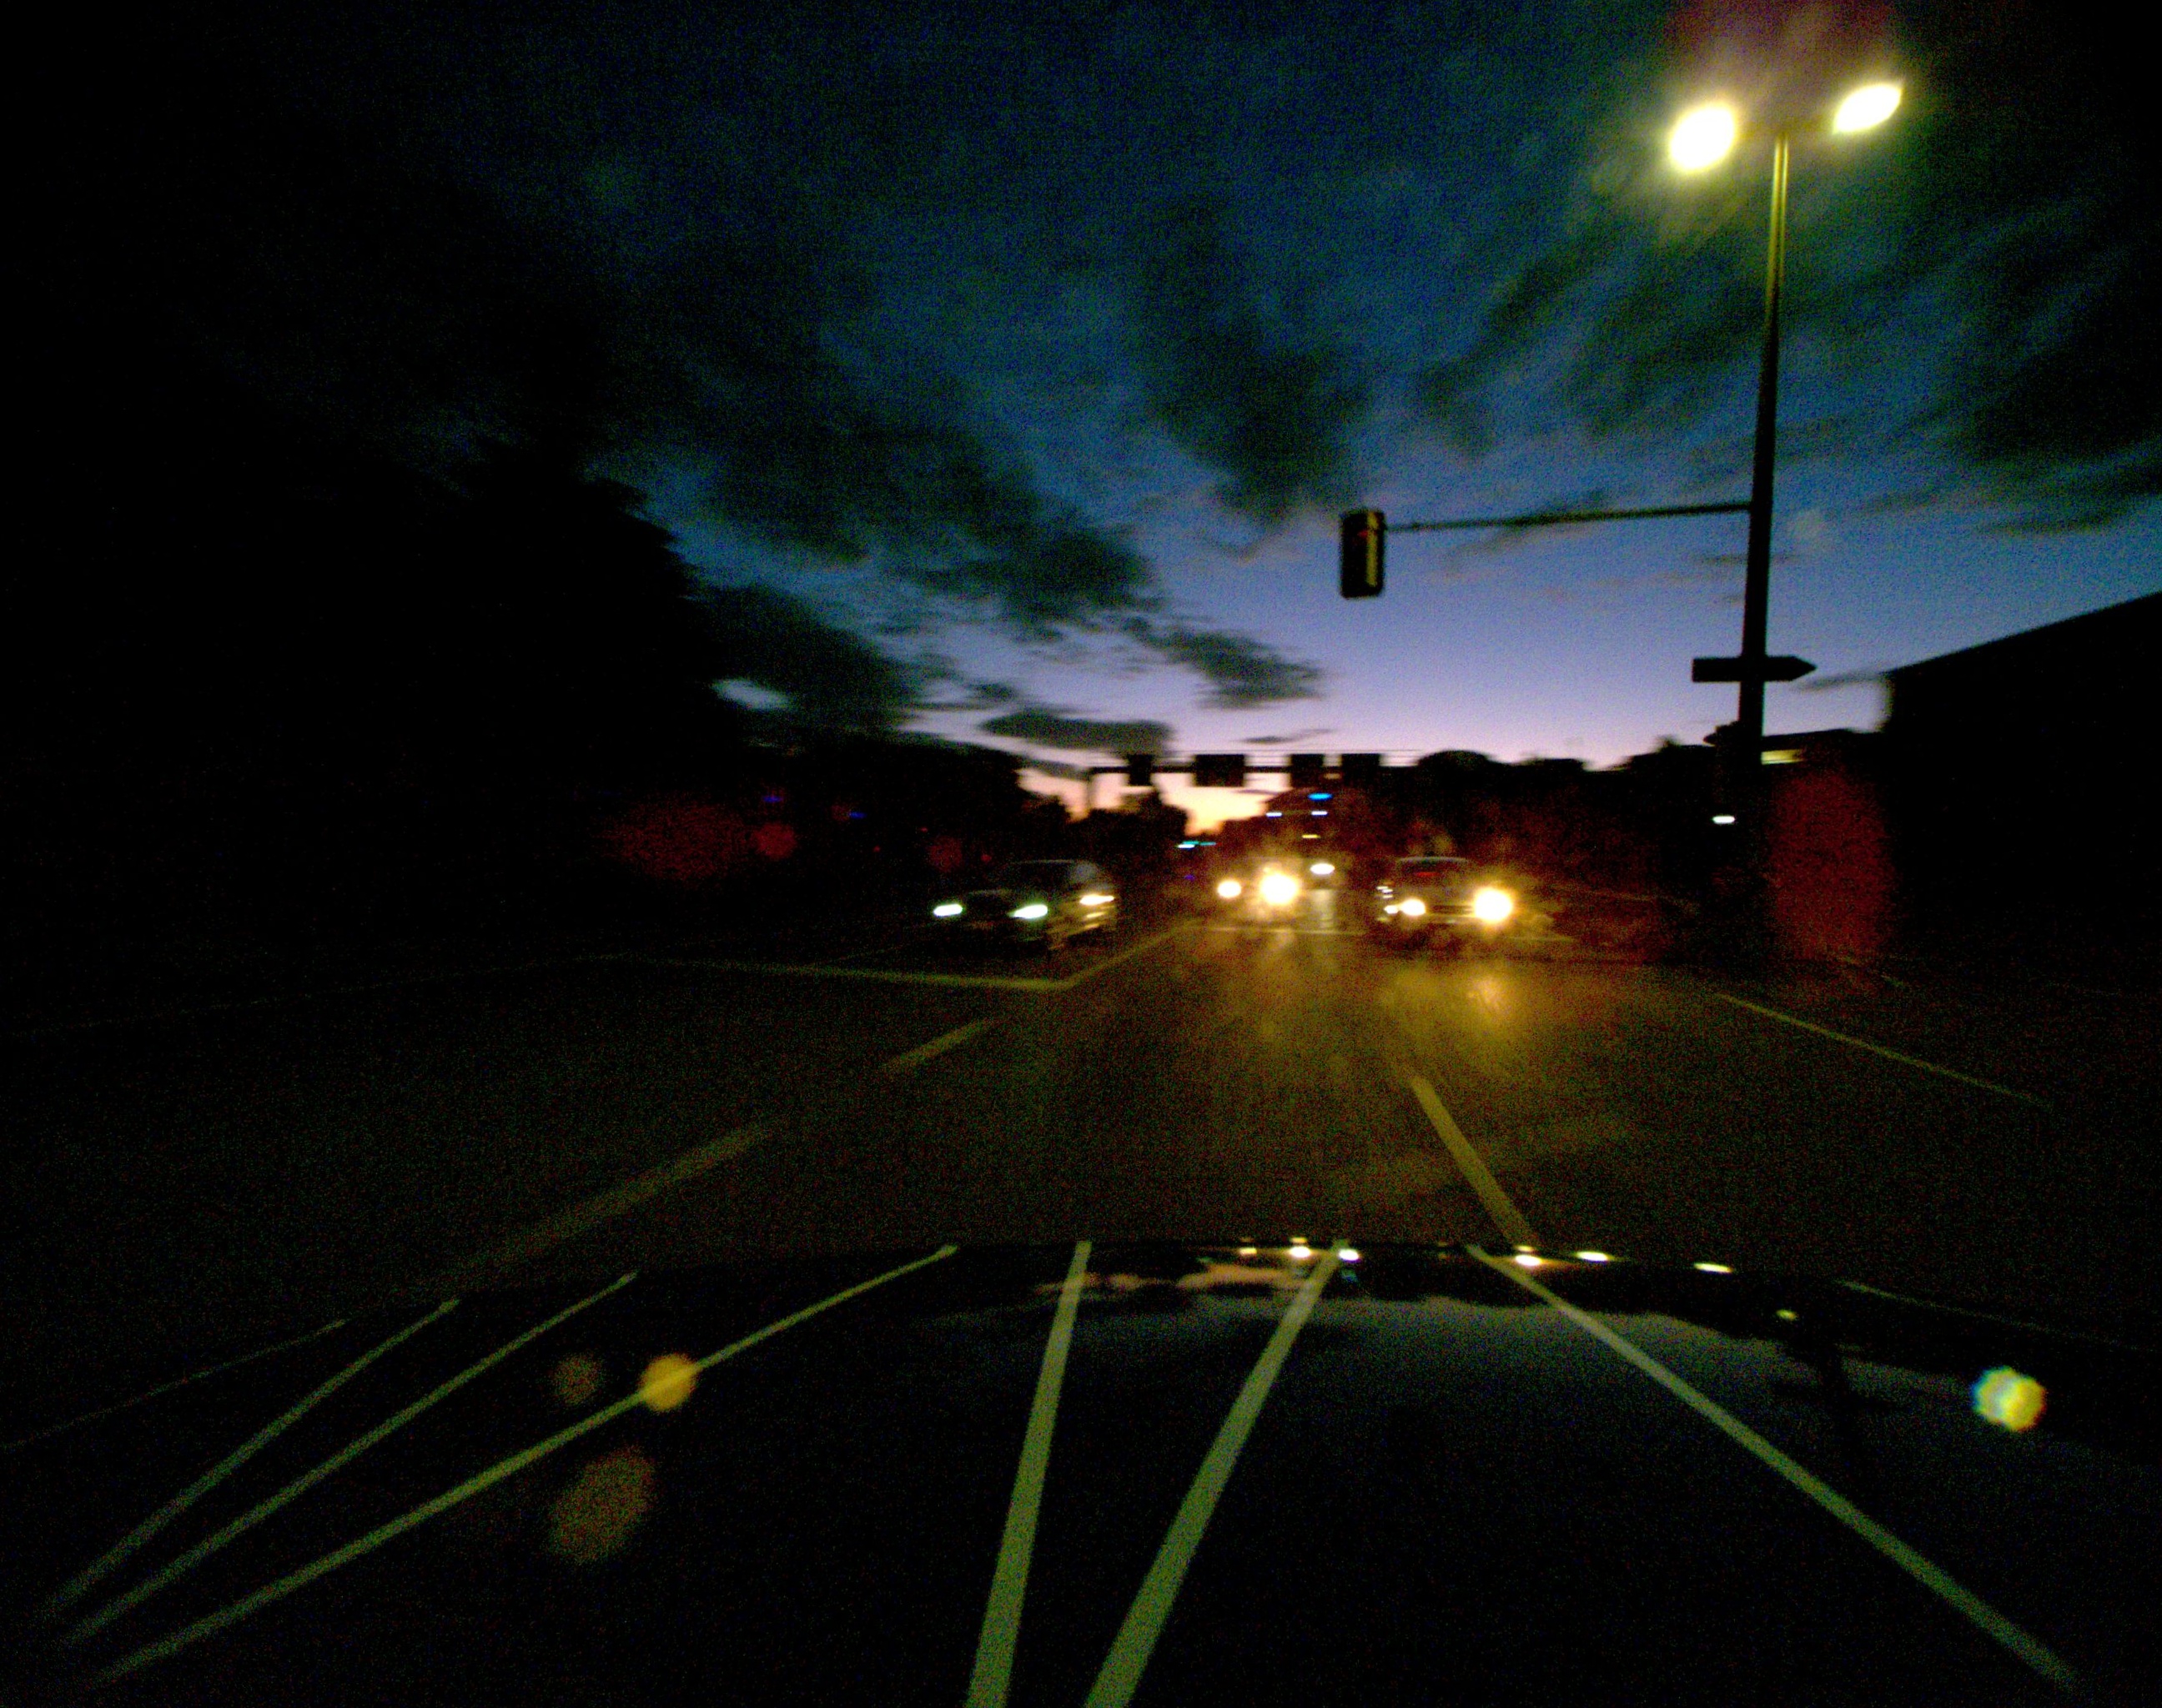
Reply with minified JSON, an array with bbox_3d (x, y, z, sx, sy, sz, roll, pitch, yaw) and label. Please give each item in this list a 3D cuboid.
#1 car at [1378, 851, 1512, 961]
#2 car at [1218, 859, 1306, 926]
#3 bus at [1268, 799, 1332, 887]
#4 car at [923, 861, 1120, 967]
[{"bbox_3d":[6.400,0.785,13.781,1.667,1.643,4.417,-1,0,19],"label":"car"},{"bbox_3d":[4.642,0.878,19.138,1.667,1.472,3.782,0,1,21],"label":"car"},{"bbox_3d":[11.051,-0.520,38.449,2.610,3.768,12.289,0,1,16],"label":"bus"},{"bbox_3d":[-0.784,0.878,13.194,1.792,1.435,4.540,-1,0,18],"label":"car"}]
